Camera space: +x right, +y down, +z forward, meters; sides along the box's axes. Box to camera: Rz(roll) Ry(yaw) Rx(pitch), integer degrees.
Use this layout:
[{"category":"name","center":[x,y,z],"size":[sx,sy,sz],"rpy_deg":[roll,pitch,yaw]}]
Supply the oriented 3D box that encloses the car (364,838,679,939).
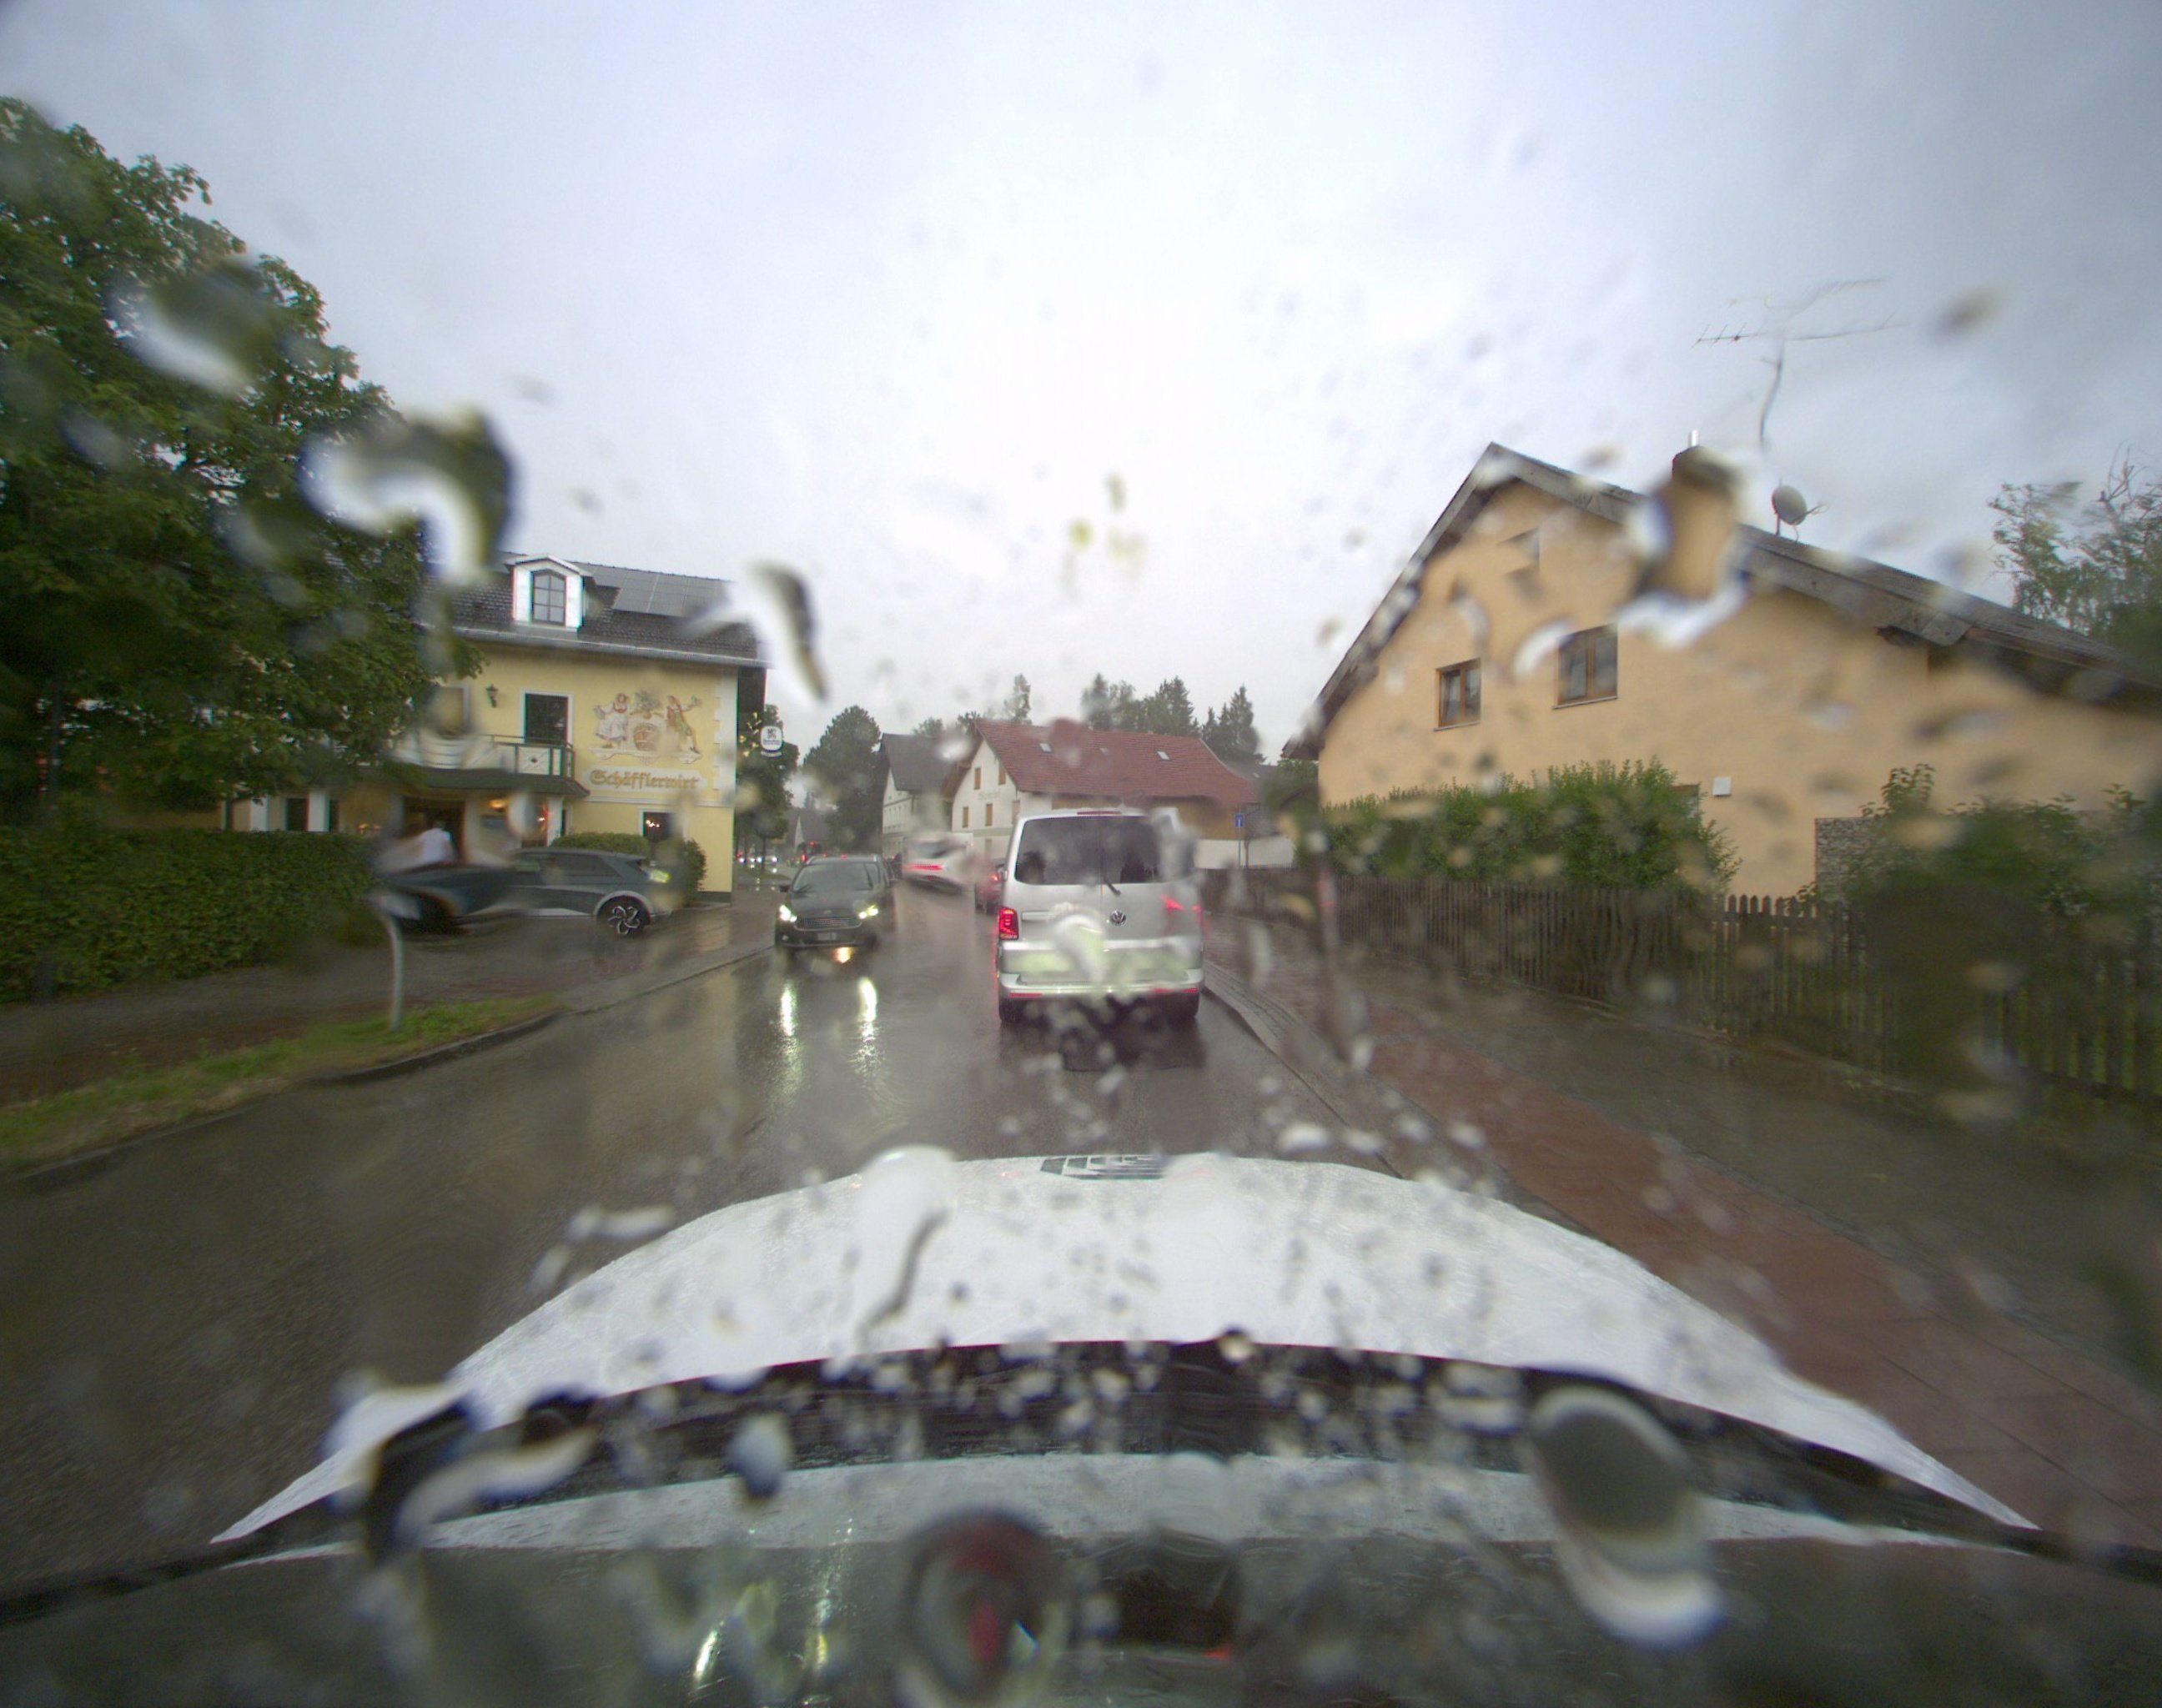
[{"category":"car","center":[-10.005,0.648,15.082],"size":[4.498,1.567,1.824],"rpy_deg":[4,0,-26]}]

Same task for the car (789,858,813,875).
[{"category":"car","center":[-33.205,1.451,96.411],"size":[2.179,1.899,4.974],"rpy_deg":[1,0,-24]}]

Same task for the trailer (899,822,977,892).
[{"category":"trailer","center":[-6.596,0.143,36.928],"size":[2.280,2.904,6.087],"rpy_deg":[0,0,-22]}]

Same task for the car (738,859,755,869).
[{"category":"car","center":[-46.118,1.383,112.279],"size":[1.872,1.359,4.445],"rpy_deg":[-2,1,-26]}]

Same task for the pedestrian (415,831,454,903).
[{"category":"pedestrian","center":[-15.631,0.316,19.702],"size":[0.492,1.690,0.550],"rpy_deg":[4,-1,-21]}]

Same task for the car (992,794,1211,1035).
[{"category":"car","center":[0.282,0.514,9.243],"size":[1.769,1.963,5.077],"rpy_deg":[-1,0,3]}]

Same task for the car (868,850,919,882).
[{"category":"car","center":[-11.945,0.756,51.675],"size":[2.179,1.899,4.974],"rpy_deg":[1,-1,-24]}]

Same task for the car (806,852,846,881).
[{"category":"car","center":[-15.246,0.731,48.570],"size":[1.596,1.610,3.505],"rpy_deg":[-1,-1,-29]}]

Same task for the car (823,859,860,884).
[{"category":"car","center":[-19.427,1.378,66.005],"size":[2.179,1.899,4.974],"rpy_deg":[1,0,-24]}]

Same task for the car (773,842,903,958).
[{"category":"car","center":[-4.371,0.712,14.752],"size":[1.927,1.744,4.168],"rpy_deg":[-1,0,-17]}]

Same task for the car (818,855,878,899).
[{"category":"car","center":[-9.670,0.934,33.640],"size":[1.762,1.677,3.966],"rpy_deg":[-1,-1,-25]}]

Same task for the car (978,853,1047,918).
[{"category":"car","center":[-2.057,0.814,23.371],"size":[1.707,1.584,4.673],"rpy_deg":[-2,1,-8]}]

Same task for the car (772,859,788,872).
[{"category":"car","center":[-49.718,1.900,134.502],"size":[2.179,1.899,4.974],"rpy_deg":[1,0,-24]}]

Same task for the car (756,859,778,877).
[{"category":"car","center":[-34.875,1.576,90.375],"size":[1.860,1.971,4.662],"rpy_deg":[-1,-1,-25]}]

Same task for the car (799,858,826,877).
[{"category":"car","center":[-28.653,1.379,86.843],"size":[2.179,1.899,4.974],"rpy_deg":[1,0,-24]}]
